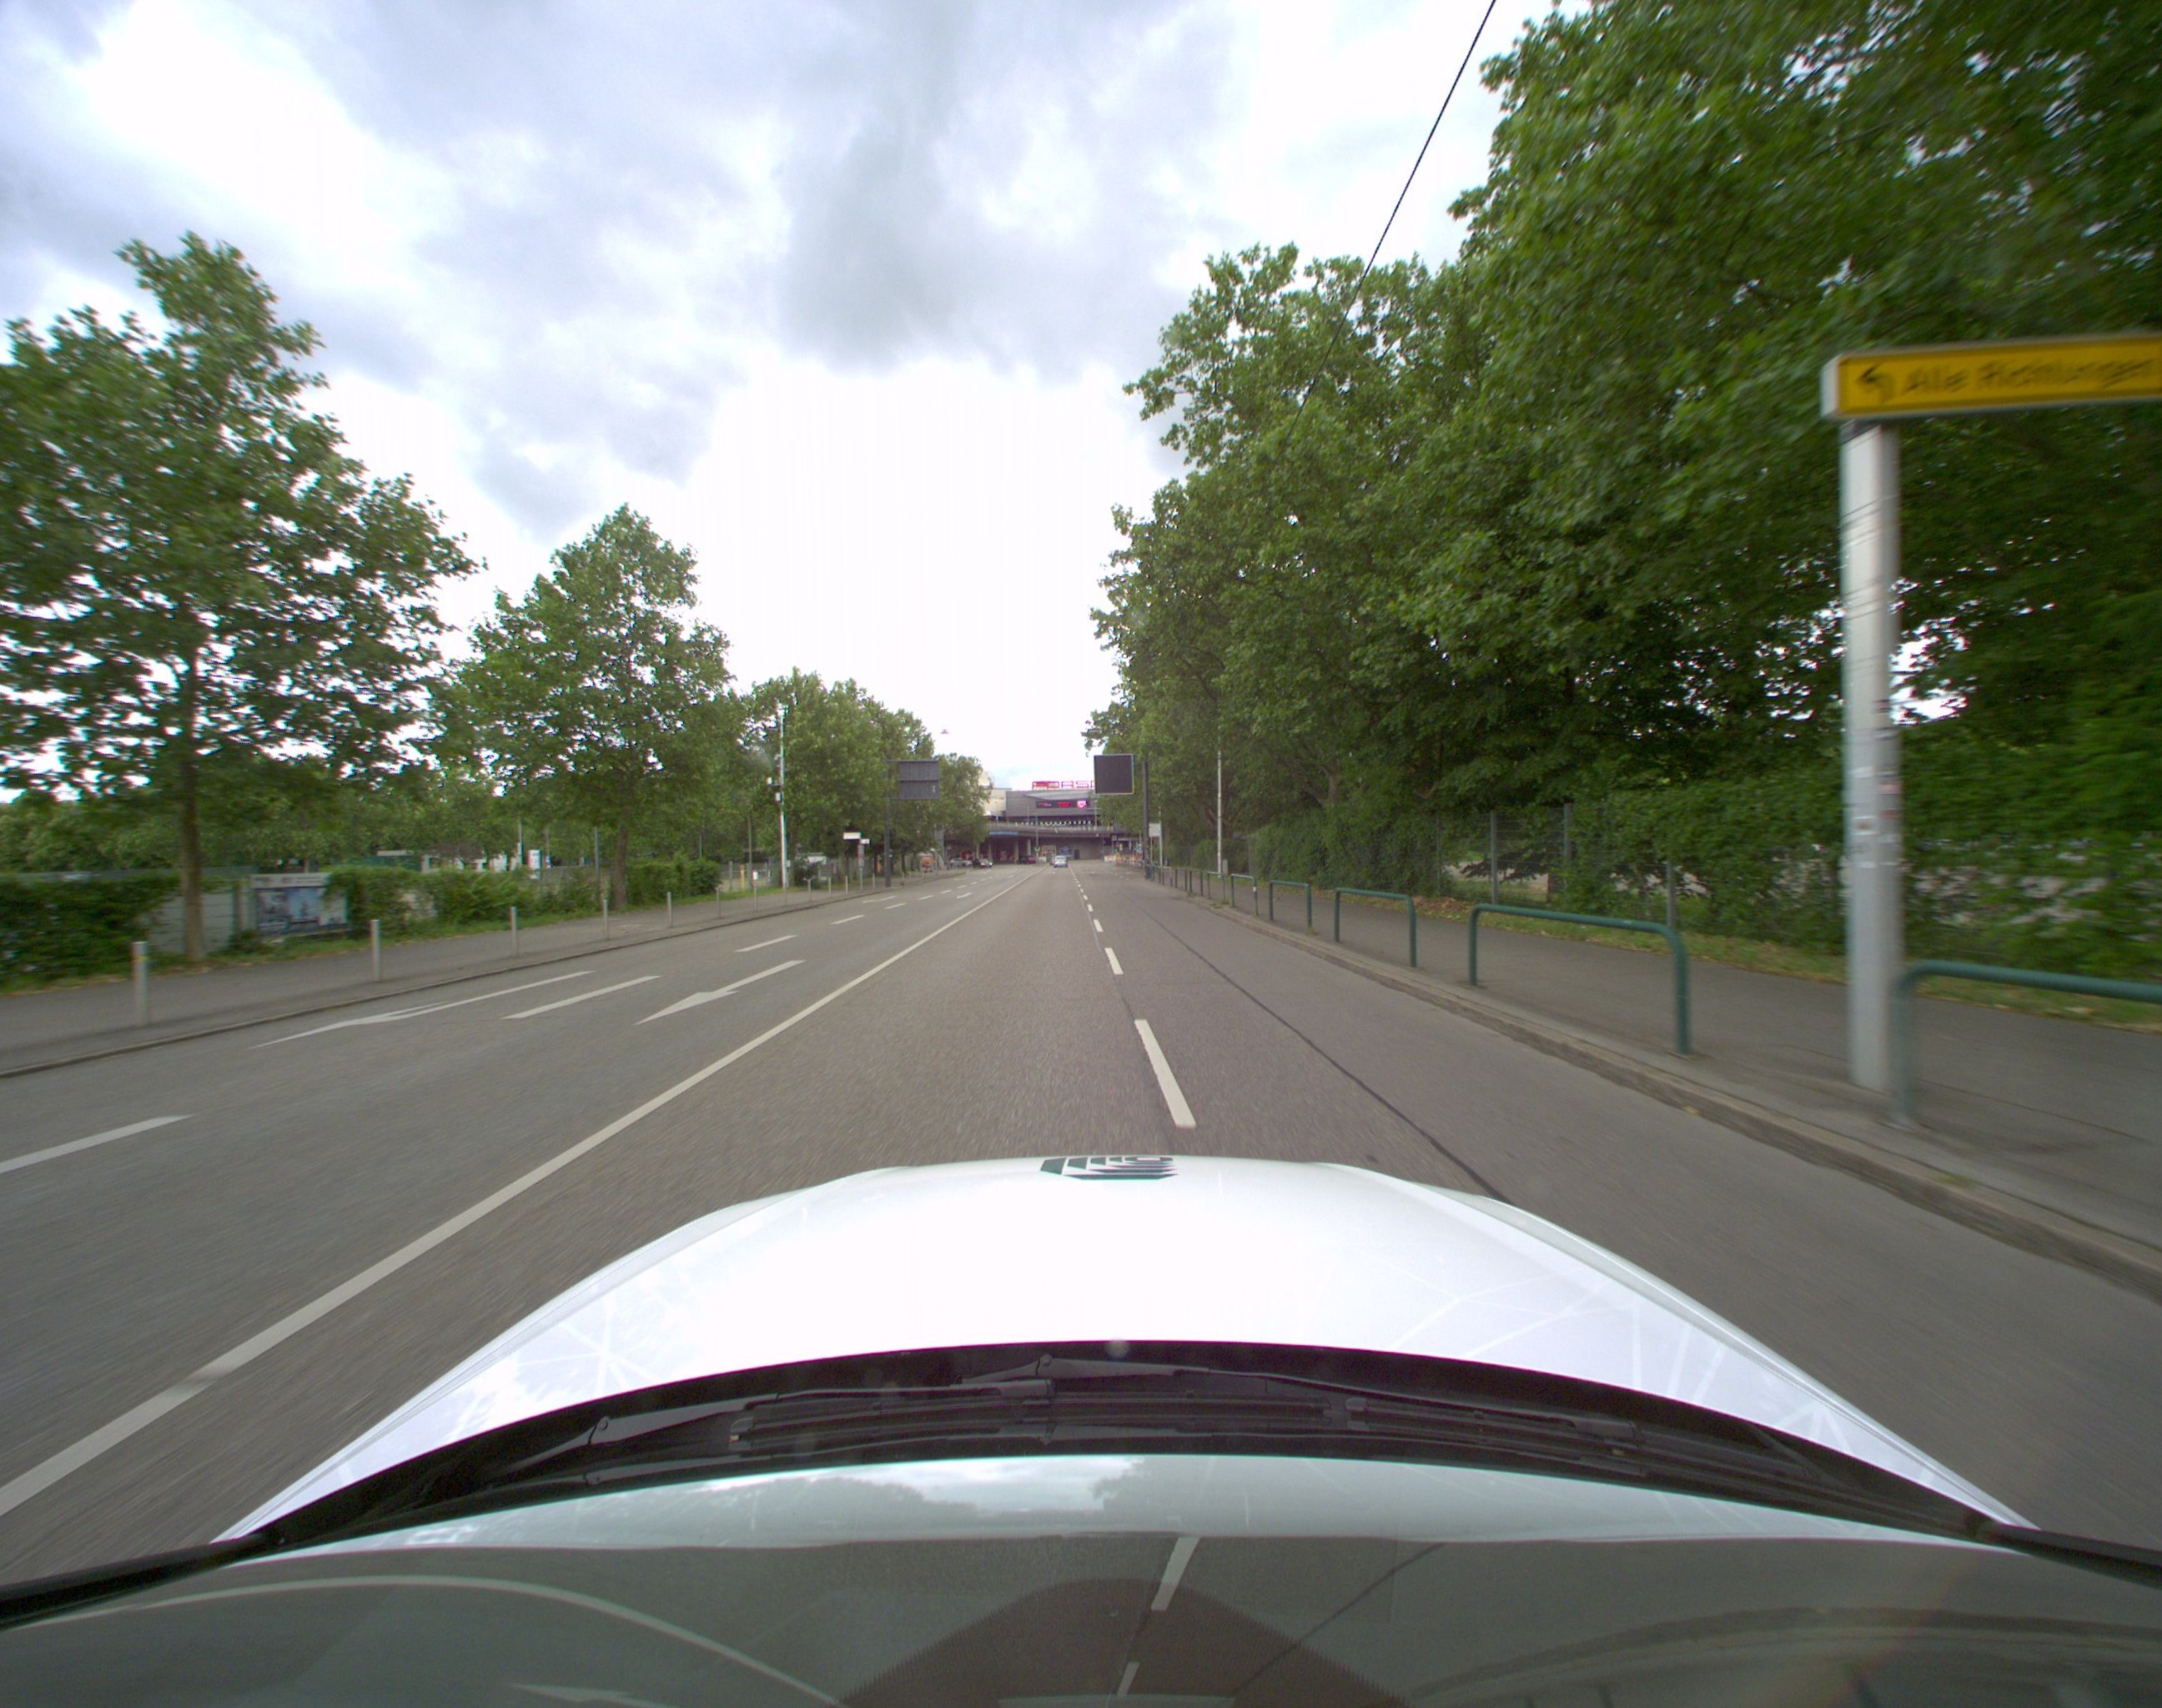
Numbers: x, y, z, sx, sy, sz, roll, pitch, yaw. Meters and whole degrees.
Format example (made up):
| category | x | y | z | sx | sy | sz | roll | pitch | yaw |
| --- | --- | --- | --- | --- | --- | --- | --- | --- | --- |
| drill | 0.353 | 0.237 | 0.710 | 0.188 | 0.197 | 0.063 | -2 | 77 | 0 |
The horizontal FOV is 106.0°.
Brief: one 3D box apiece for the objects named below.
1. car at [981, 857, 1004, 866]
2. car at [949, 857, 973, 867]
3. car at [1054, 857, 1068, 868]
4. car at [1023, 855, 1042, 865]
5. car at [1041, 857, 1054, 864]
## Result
| category | x | y | z | sx | sy | sz | roll | pitch | yaw |
| --- | --- | --- | --- | --- | --- | --- | --- | --- | --- |
| car | -13.377 | 1.132 | 122.966 | 3.539 | 1.272 | 1.671 | 0 | 0 | 44 |
| car | -20.515 | 1.305 | 139.428 | 3.834 | 1.578 | 1.635 | -2 | 0 | 24 |
| car | -2.603 | 1.165 | 109.029 | 1.773 | 1.460 | 3.821 | 0 | 0 | 0 |
| car | -8.610 | 0.995 | 144.213 | 2.018 | 1.698 | 4.035 | -1 | 0 | -26 |
| car | -5.460 | 1.056 | 131.867 | 1.414 | 1.113 | 3.022 | 0 | 0 | -15 |
